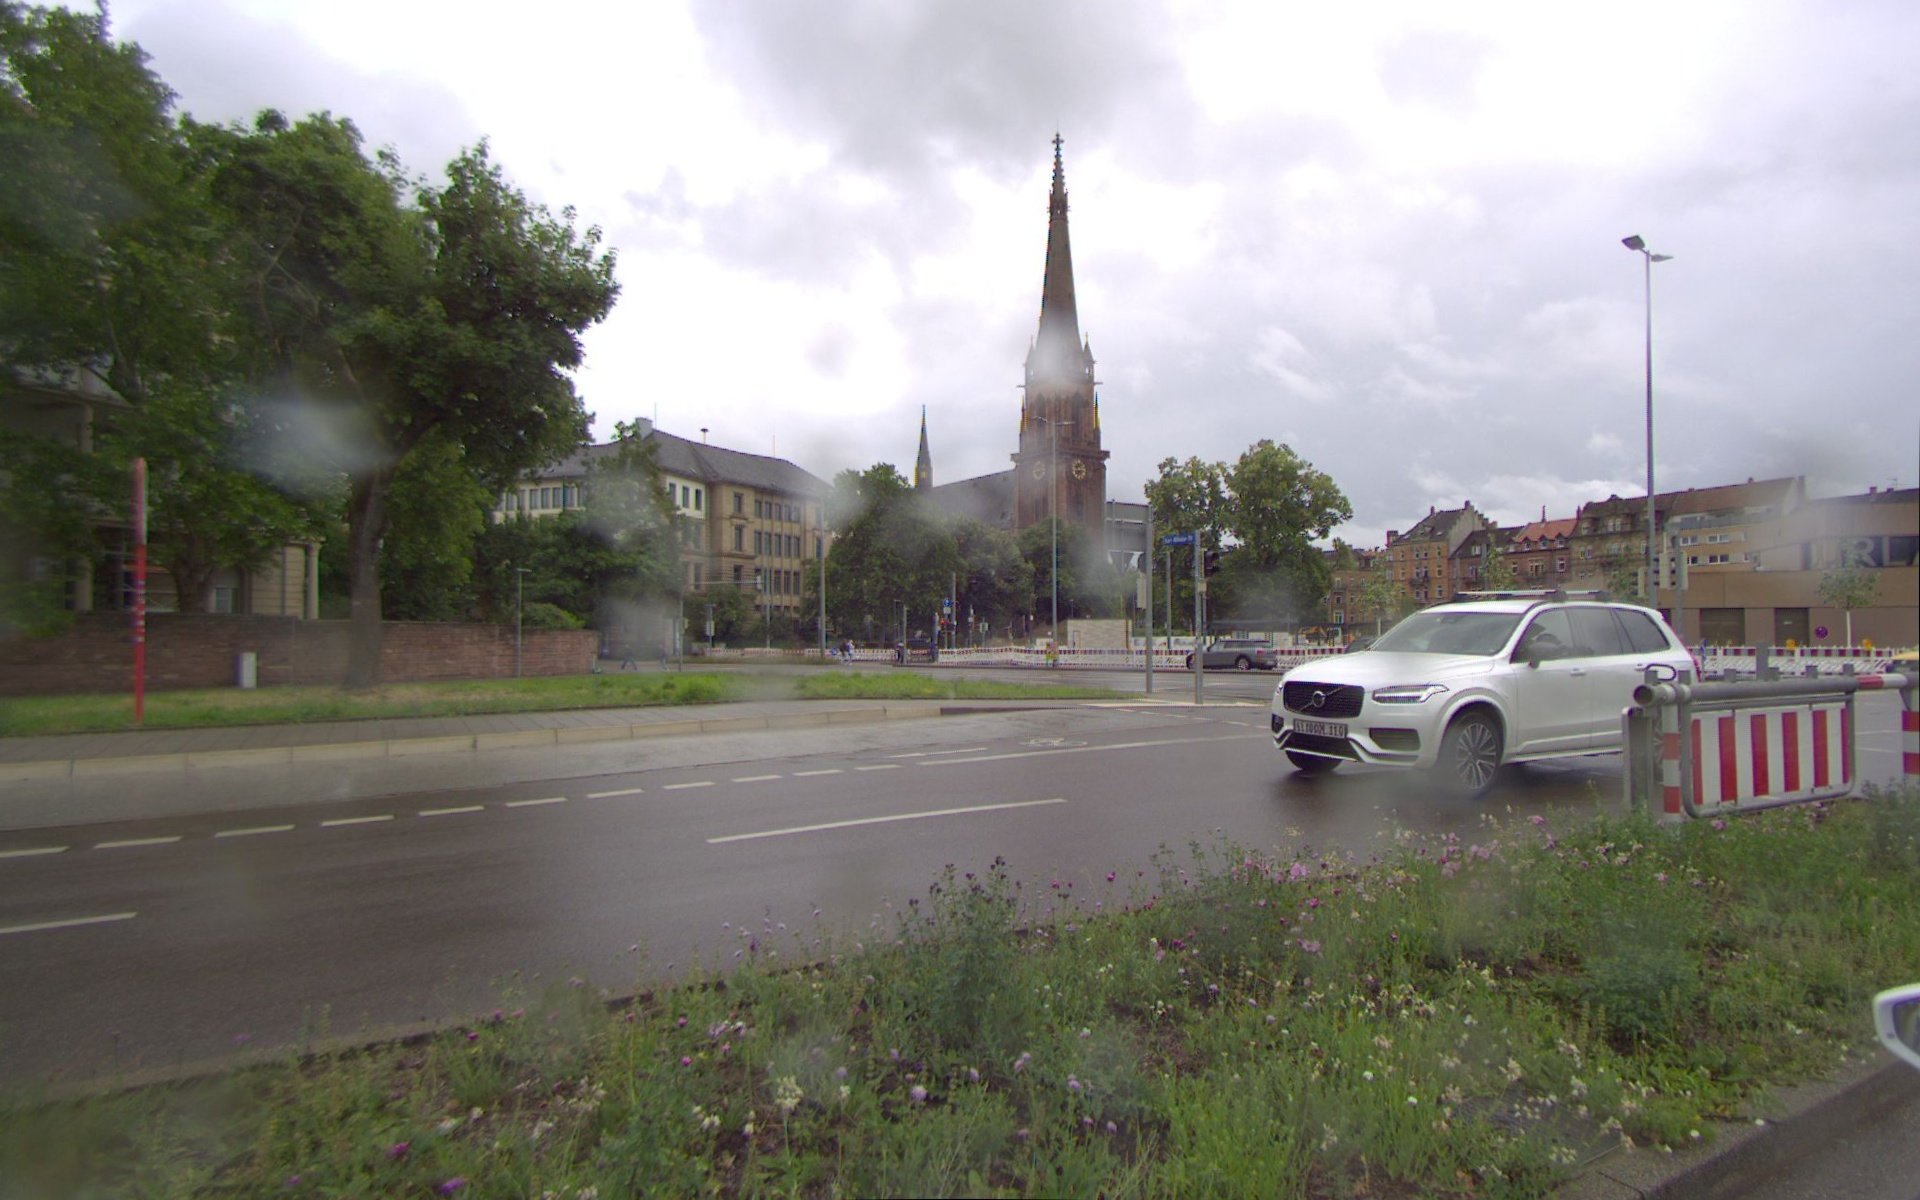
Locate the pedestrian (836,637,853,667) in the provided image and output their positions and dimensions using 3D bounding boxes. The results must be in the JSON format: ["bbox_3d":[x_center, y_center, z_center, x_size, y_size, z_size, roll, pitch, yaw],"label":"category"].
[{"bbox_3d":[-7.960,3.554,69.291,0.945,2.040,0.852,1,-2,-30],"label":"pedestrian"}]

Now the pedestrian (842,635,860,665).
[{"bbox_3d":[-7.451,3.393,68.536,0.945,2.040,0.852,1,-2,-30],"label":"pedestrian"}]

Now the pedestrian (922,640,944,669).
[{"bbox_3d":[-1.924,3.875,71.985,0.981,2.040,1.305,-1,-2,34],"label":"pedestrian"}]

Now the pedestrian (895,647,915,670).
[{"bbox_3d":[-3.771,3.998,69.205,0.917,1.560,1.057,-1,-2,34],"label":"pedestrian"}]

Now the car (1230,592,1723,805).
[{"bbox_3d":[5.257,0.835,10.026,5.100,1.704,1.819,1,-1,-28],"label":"car"}]

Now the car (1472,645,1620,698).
[{"bbox_3d":[20.521,2.464,35.292,4.384,1.728,1.707,-1,-2,32],"label":"car"}]

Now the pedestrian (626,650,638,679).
[{"bbox_3d":[-22.134,4.342,67.775,0.591,1.915,0.606,0,-2,-7],"label":"pedestrian"}]

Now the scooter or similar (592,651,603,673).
[{"bbox_3d":[-19.169,3.270,53.094,0.274,1.096,1.078,0,-2,-4],"label":"scooter or similar"}]

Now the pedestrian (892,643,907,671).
[{"bbox_3d":[-3.981,3.770,66.271,0.765,1.801,0.720,1,-2,-30],"label":"pedestrian"}]

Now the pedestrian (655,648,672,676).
[{"bbox_3d":[-15.960,3.322,54.042,0.662,1.520,0.774,0,-2,0],"label":"pedestrian"}]

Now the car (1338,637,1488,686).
[{"bbox_3d":[14.365,1.911,32.054,1.602,1.420,4.163,1,-2,-36],"label":"car"}]

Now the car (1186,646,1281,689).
[{"bbox_3d":[11.892,2.897,43.883,1.695,1.728,3.781,1,-2,-37],"label":"car"}]

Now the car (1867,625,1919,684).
[{"bbox_3d":[30.535,1.653,30.777,4.073,1.728,1.710,0,-2,-4],"label":"car"}]
